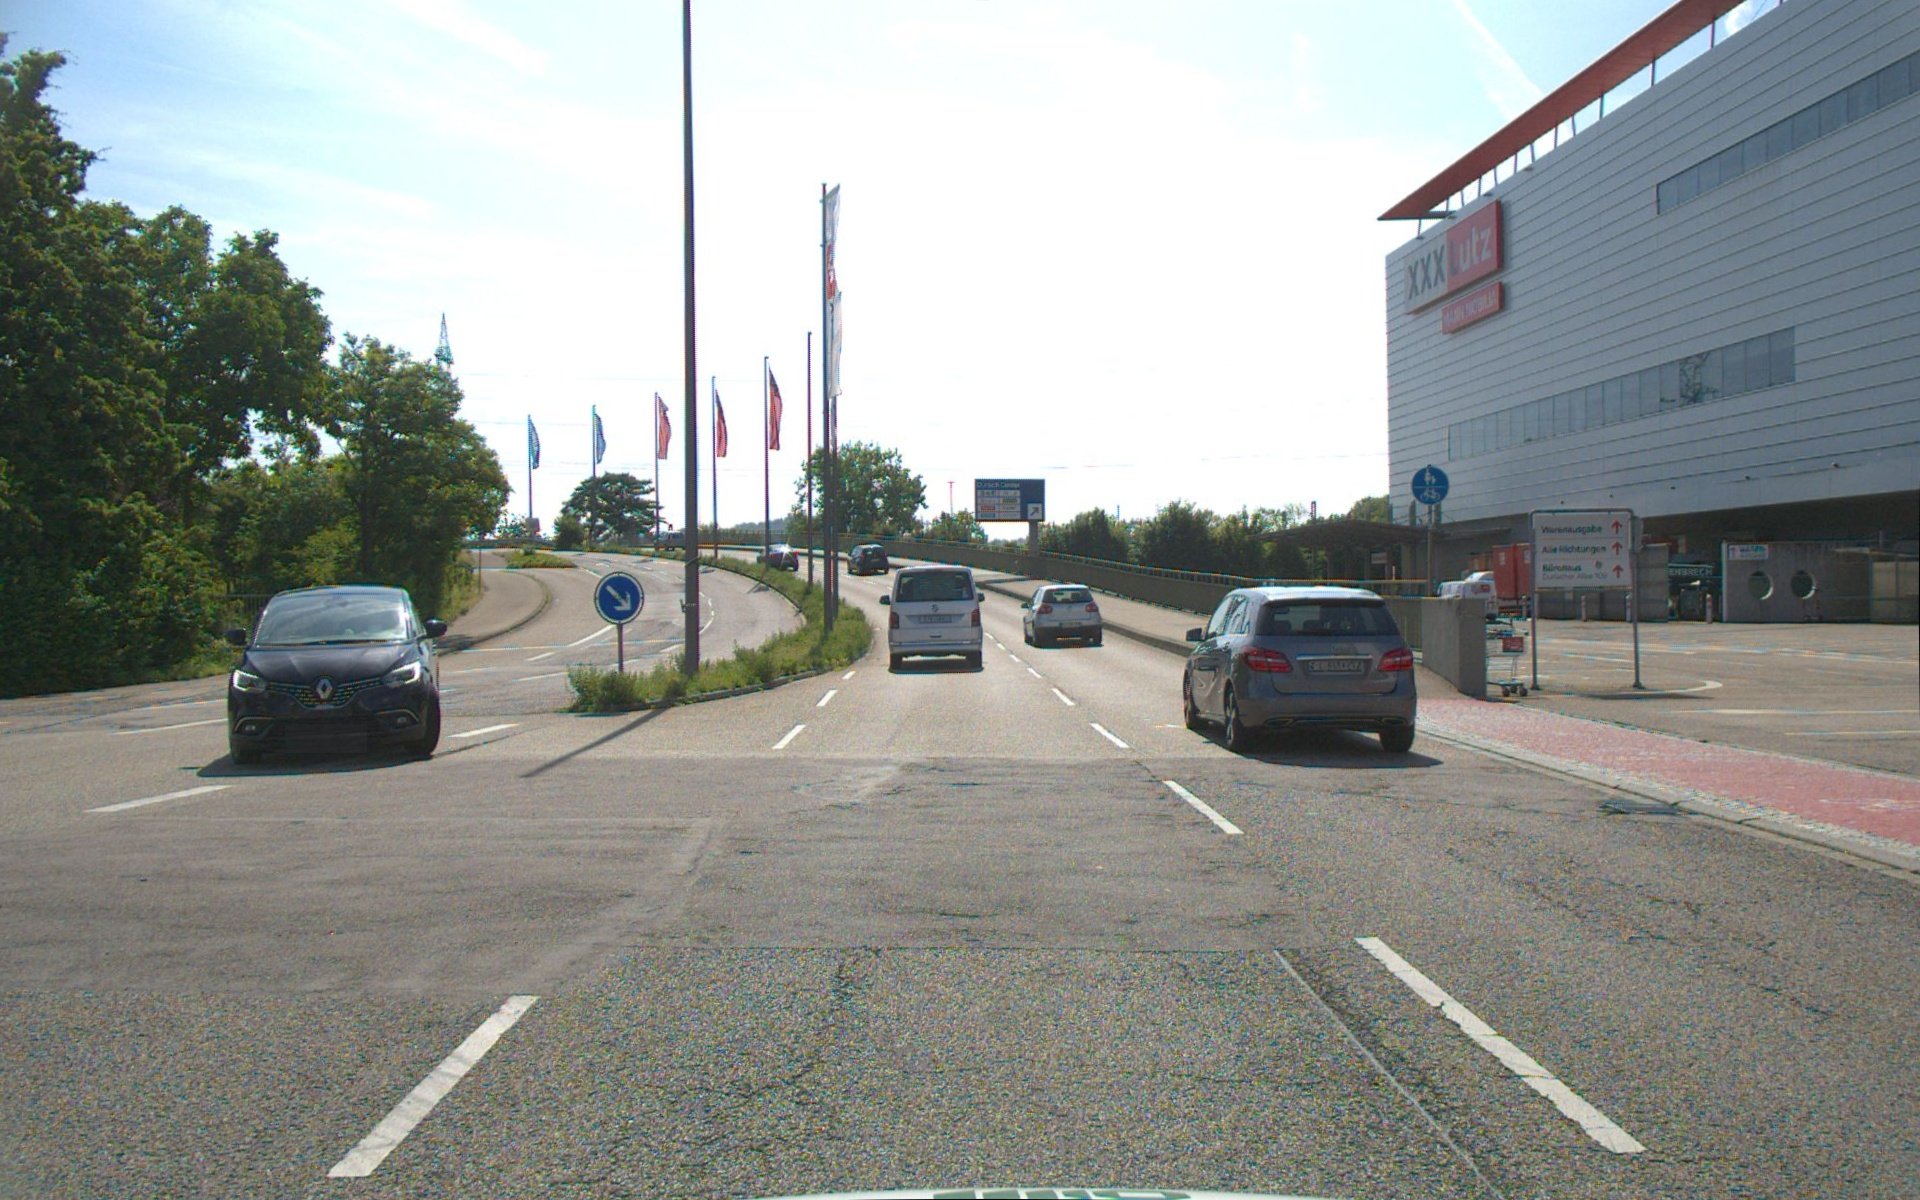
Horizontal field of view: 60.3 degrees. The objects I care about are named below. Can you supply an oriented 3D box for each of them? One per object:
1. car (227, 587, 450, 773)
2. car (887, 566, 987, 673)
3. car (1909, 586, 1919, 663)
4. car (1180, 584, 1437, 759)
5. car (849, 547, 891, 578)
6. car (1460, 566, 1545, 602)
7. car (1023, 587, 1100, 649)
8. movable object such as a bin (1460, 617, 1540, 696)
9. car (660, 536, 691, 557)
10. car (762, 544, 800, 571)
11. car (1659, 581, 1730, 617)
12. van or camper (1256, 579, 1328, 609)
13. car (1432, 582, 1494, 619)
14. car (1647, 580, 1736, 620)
[{"bbox_3d":[-6.269,0.715,17.101,1.885,1.634,4.251,-1,0,-17],"label":"car"},{"bbox_3d":[-0.428,0.344,33.306,1.877,2.010,4.297,0,1,0],"label":"car"},{"bbox_3d":[22.871,0.434,35.209,4.338,1.642,1.835,-3,1,-6],"label":"car"},{"bbox_3d":[3.420,0.626,16.982,1.737,1.566,4.137,0,1,-1],"label":"car"},{"bbox_3d":[-4.926,-2.051,90.499,1.506,1.505,3.581,1,3,-16],"label":"car"},{"bbox_3d":[29.811,-0.890,90.936,4.104,1.962,1.775,0,0,-3],"label":"car"},{"bbox_3d":[2.555,0.433,42.158,1.633,1.439,3.682,-1,1,-1],"label":"car"},{"bbox_3d":[8.073,0.828,24.761,0.793,1.133,1.182,-1,0,-1],"label":"movable object such as a bin"},{"bbox_3d":[-22.880,-4.297,132.927,1.513,1.506,3.393,0,0,-28],"label":"car"},{"bbox_3d":[-10.541,-2.481,97.100,1.508,1.506,3.228,0,0,-20],"label":"car"},{"bbox_3d":[30.975,-0.050,69.823,1.480,1.494,3.253,0,1,-2],"label":"car"},{"bbox_3d":[26.296,-0.483,131.059,5.346,2.217,2.090,2,-1,-23],"label":"van or camper"},{"bbox_3d":[24.417,0.002,80.394,1.639,1.782,4.092,0,1,-2],"label":"car"},{"bbox_3d":[29.010,-0.028,65.695,1.639,1.536,4.092,0,1,-2],"label":"car"}]
